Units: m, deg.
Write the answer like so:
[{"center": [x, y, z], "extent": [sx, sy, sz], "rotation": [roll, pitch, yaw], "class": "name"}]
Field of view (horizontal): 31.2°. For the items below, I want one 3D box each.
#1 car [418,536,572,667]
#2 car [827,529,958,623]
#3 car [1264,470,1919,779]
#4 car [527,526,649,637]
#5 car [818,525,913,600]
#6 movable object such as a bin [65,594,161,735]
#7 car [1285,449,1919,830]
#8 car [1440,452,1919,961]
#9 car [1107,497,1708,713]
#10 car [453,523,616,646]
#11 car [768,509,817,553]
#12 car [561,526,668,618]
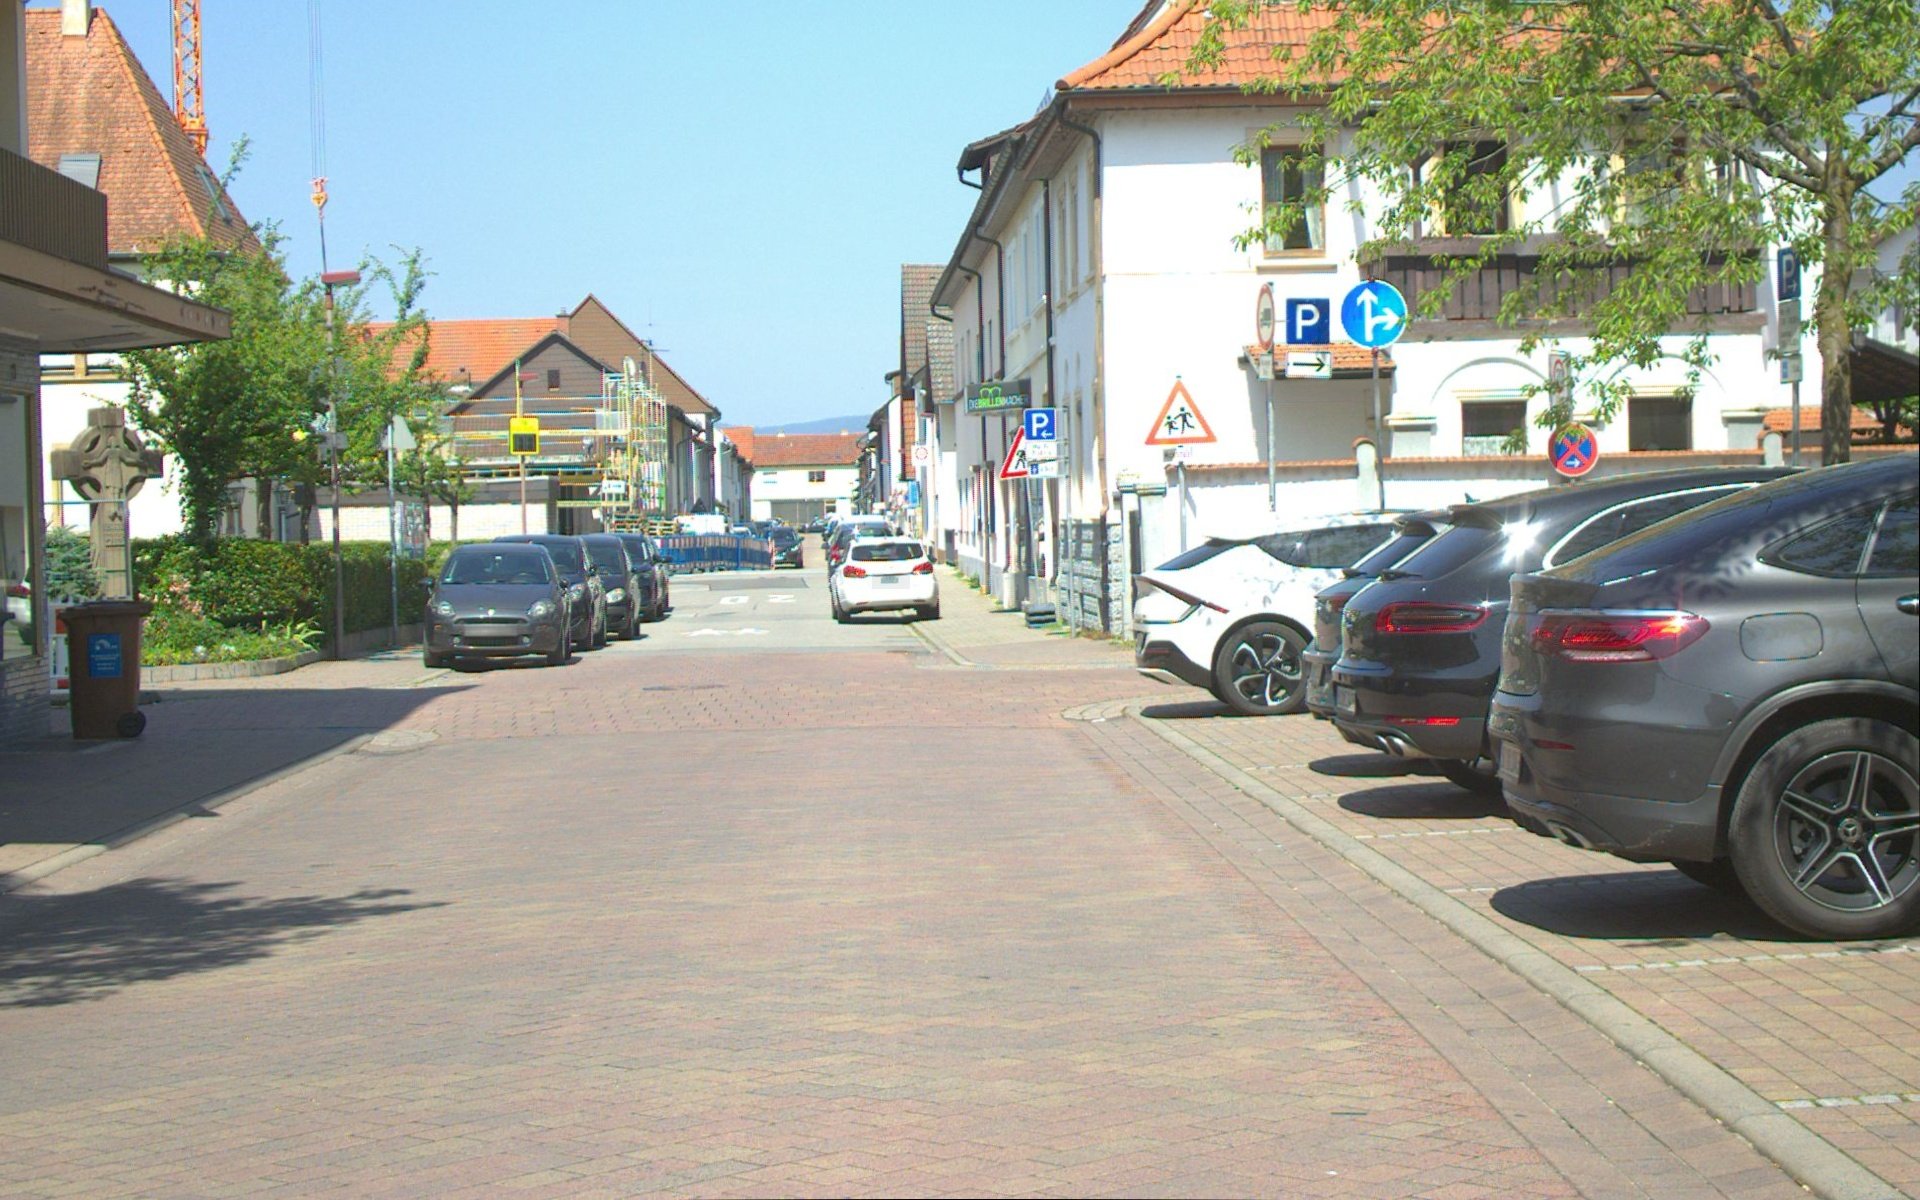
[{"center": [-5.707, -0.022, 42.509], "extent": [1.702, 1.491, 3.858], "rotation": [-2, 1, -5], "class": "car"}, {"center": [-1.162, -0.454, 60.903], "extent": [1.887, 1.536, 4.242], "rotation": [-1, 1, 4], "class": "car"}, {"center": [3.915, 0.104, 20.281], "extent": [3.943, 1.528, 1.824], "rotation": [-3, 1, -2], "class": "car"}, {"center": [-5.816, -0.320, 54.068], "extent": [1.637, 1.623, 3.769], "rotation": [-1, 2, -3], "class": "car"}, {"center": [-2.249, -0.913, 81.141], "extent": [1.884, 1.550, 3.895], "rotation": [-5, 2, -5], "class": "car"}, {"center": [-6.611, 0.498, 26.855], "extent": [0.655, 1.066, 0.664], "rotation": [-1, 1, -8], "class": "movable object such as a bin"}, {"center": [3.944, 0.125, 17.278], "extent": [4.278, 1.675, 2.001], "rotation": [-3, 1, -3], "class": "car"}, {"center": [4.068, 0.246, 11.950], "extent": [4.508, 1.583, 1.850], "rotation": [-3, 1, 1], "class": "car"}, {"center": [3.495, 0.012, 27.338], "extent": [4.439, 1.570, 1.789], "rotation": [-1, 1, -4], "class": "car"}, {"center": [-5.936, -0.250, 48.387], "extent": [1.815, 1.599, 4.025], "rotation": [-1, 1, -1], "class": "car"}, {"center": [-6.667, -2.746, 136.577], "extent": [1.881, 1.662, 4.154], "rotation": [-1, 1, -3], "class": "car"}, {"center": [-6.482, -0.553, 64.834], "extent": [1.826, 1.625, 4.218], "rotation": [-1, 1, -4], "class": "car"}]
